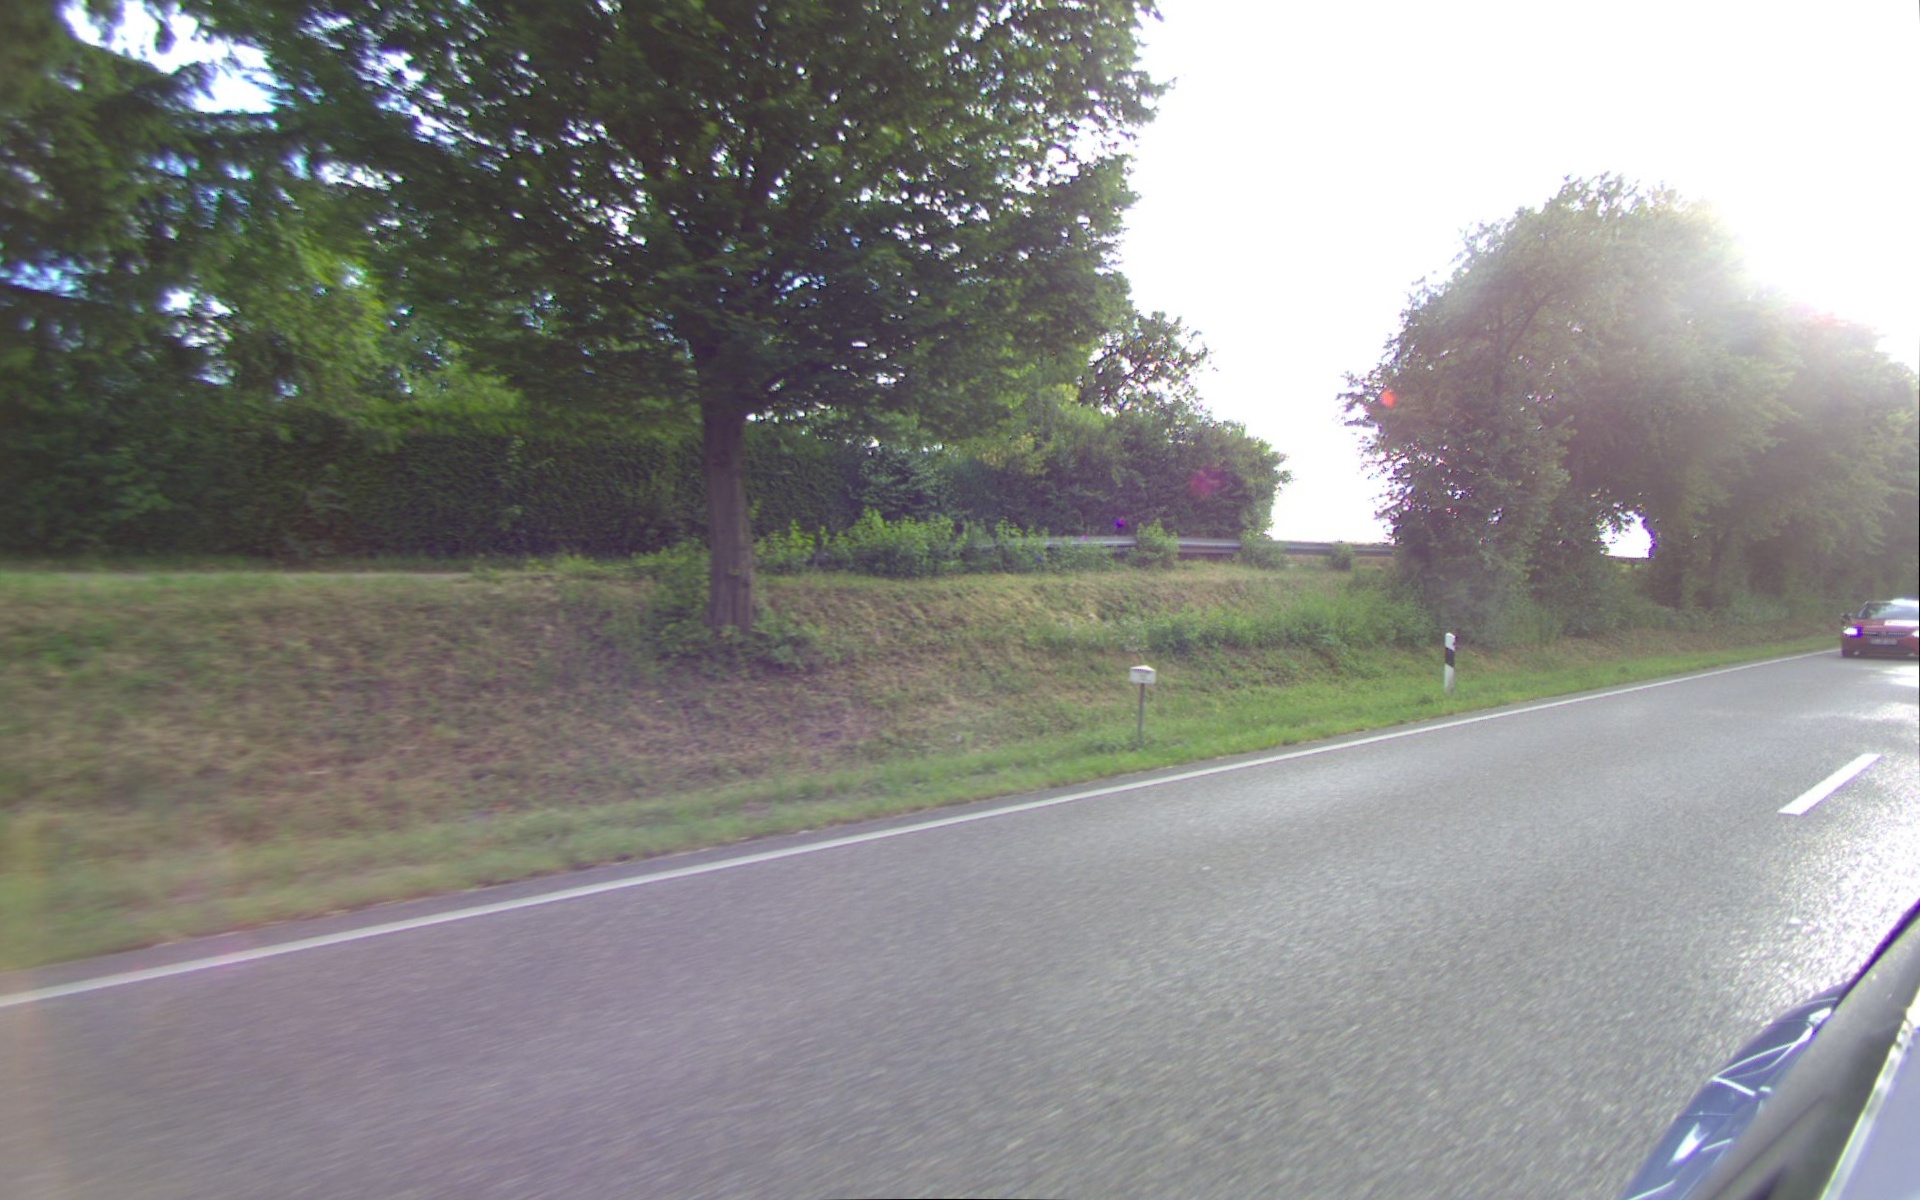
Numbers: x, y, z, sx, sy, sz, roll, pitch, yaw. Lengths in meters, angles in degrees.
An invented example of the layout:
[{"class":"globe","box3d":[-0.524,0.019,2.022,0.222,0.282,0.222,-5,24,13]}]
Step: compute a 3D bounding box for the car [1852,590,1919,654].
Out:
[{"class":"car","box3d":[24.018,0.549,25.502,3.660,1.494,1.723,1,1,-39]}]
